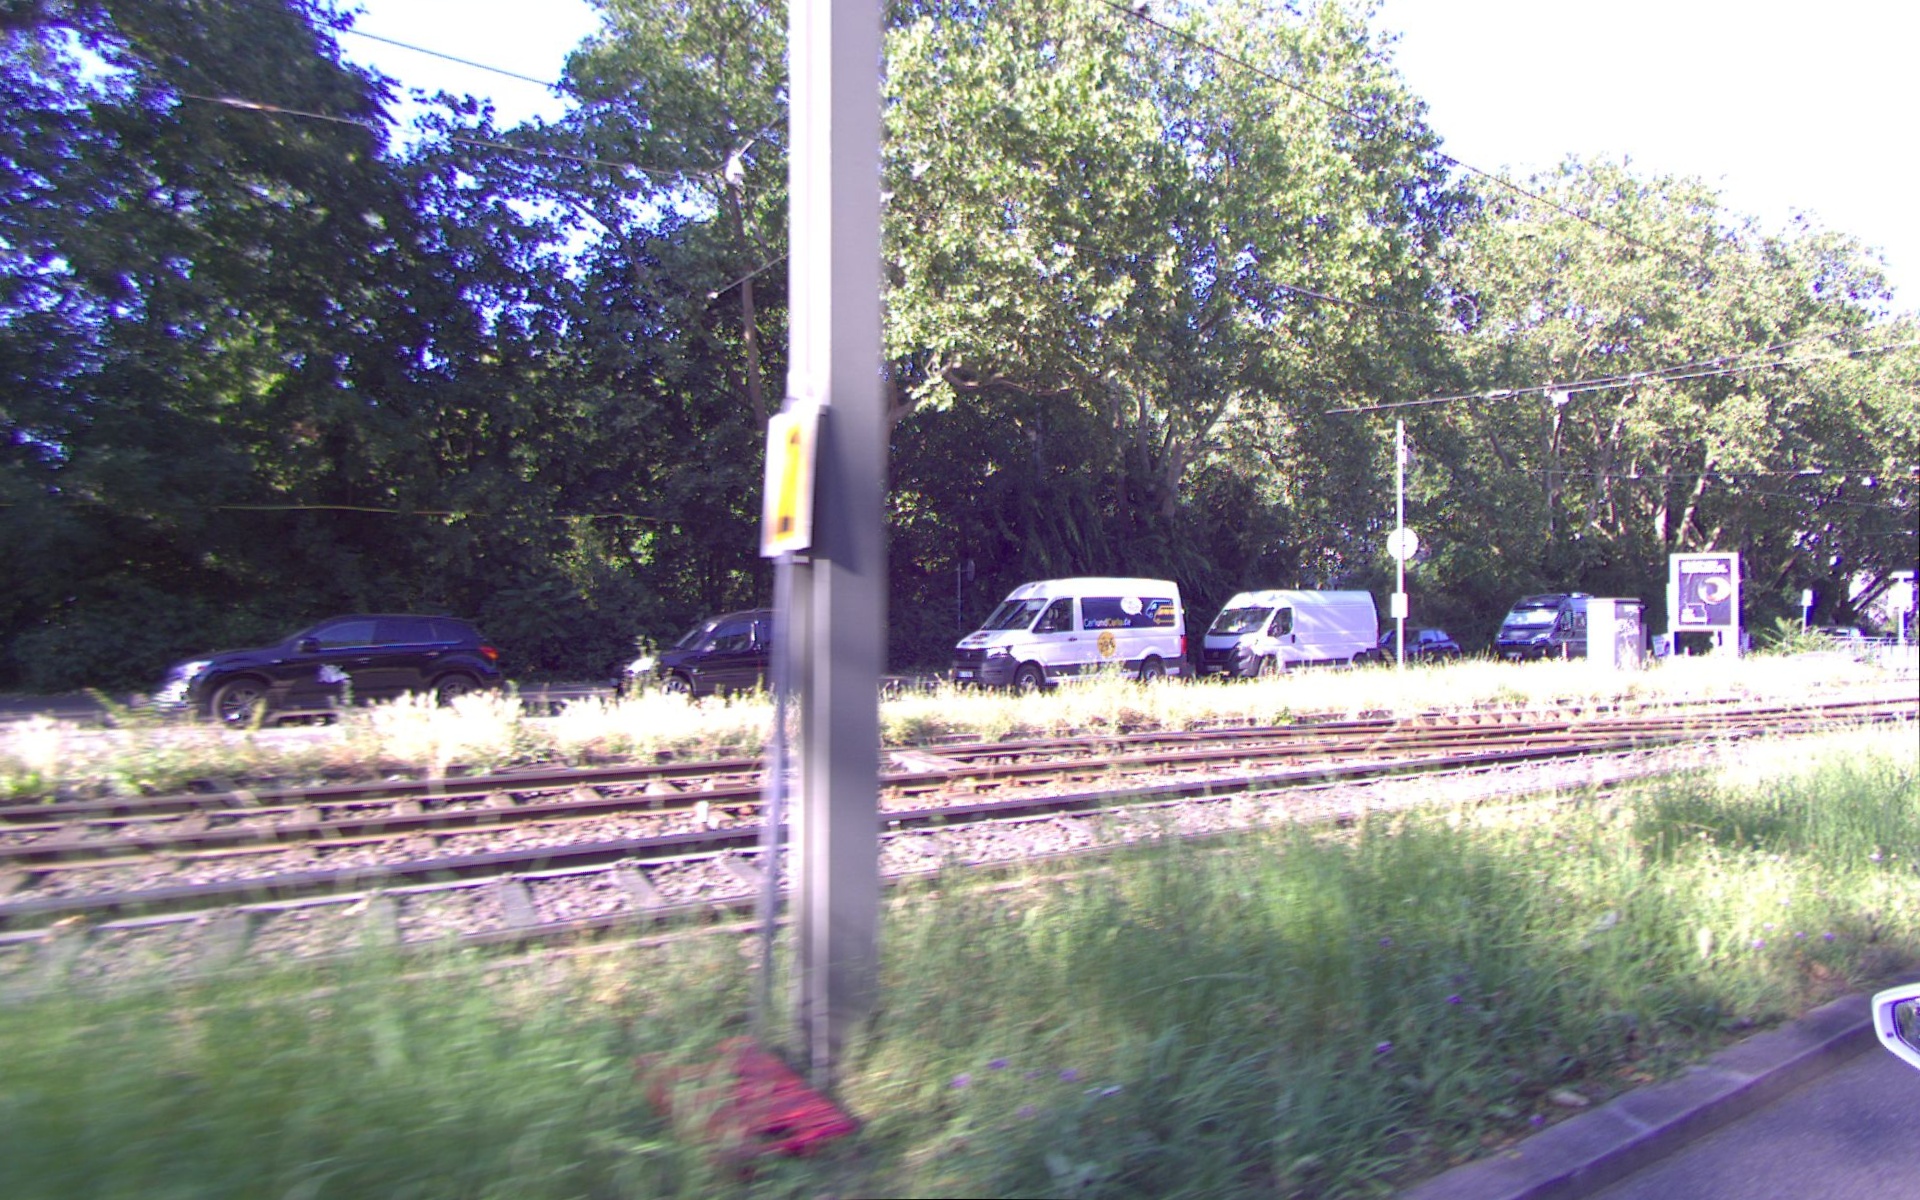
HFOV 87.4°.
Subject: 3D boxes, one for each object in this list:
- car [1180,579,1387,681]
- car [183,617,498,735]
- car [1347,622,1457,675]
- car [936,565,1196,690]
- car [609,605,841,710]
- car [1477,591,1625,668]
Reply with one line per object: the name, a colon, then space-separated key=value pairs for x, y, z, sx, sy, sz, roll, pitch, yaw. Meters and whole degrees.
car: x=9.000 y=0.866 z=27.677 sx=6.210 sy=2.553 sz=2.169 roll=2 pitch=-3 yaw=-36
car: x=-9.264 y=1.102 z=15.257 sx=3.842 sy=1.575 sz=1.728 roll=2 pitch=-3 yaw=-34
car: x=13.557 y=1.482 z=30.773 sx=3.233 sy=1.532 sz=1.641 roll=2 pitch=-3 yaw=-35
car: x=2.528 y=0.676 z=23.056 sx=5.988 sy=2.553 sz=2.170 roll=2 pitch=-3 yaw=-34
car: x=-4.304 y=1.039 z=18.613 sx=3.842 sy=1.750 sz=1.728 roll=2 pitch=-3 yaw=-34
car: x=21.093 y=1.095 z=35.747 sx=5.970 sy=2.553 sz=2.170 roll=2 pitch=-3 yaw=-34
